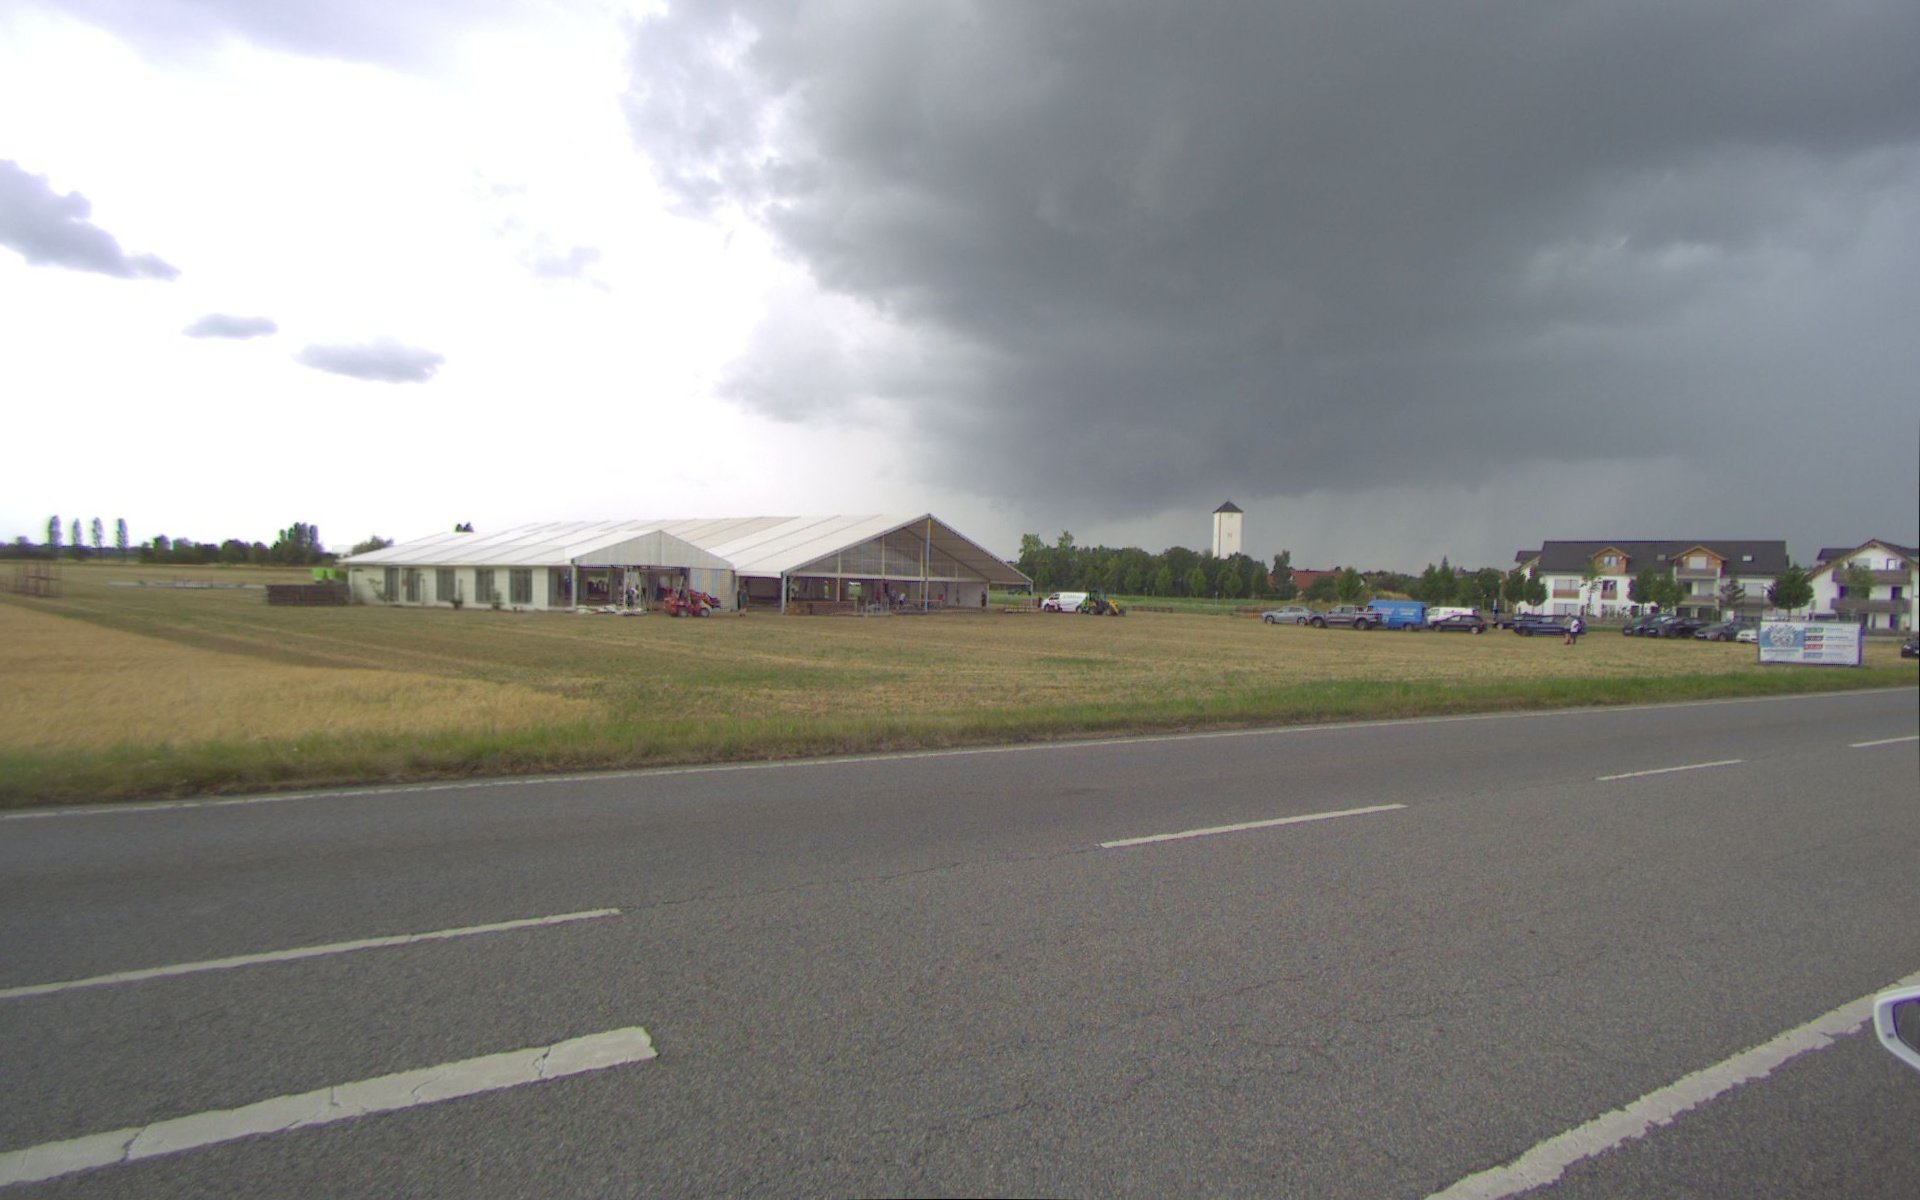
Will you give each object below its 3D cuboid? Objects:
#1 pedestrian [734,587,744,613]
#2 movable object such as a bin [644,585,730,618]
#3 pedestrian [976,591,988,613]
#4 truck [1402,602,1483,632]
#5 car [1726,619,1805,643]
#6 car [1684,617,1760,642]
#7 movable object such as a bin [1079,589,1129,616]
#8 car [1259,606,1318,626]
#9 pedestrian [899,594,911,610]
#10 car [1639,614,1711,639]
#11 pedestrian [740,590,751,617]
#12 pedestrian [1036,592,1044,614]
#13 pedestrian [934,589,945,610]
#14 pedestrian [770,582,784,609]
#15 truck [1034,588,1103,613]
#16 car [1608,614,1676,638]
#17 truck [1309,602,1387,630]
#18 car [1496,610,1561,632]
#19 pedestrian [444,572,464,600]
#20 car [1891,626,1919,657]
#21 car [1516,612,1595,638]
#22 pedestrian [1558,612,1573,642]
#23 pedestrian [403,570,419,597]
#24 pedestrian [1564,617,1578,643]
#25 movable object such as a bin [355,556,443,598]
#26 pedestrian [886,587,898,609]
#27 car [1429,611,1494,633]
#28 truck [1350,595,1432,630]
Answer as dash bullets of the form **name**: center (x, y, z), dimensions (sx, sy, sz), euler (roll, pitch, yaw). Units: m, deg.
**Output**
- **pedestrian**: center (-14.071, 0.022, 63.909), dimensions (0.573, 1.649, 0.470), euler (2, 0, -10)
- **movable object such as a bin**: center (-16.669, 0.091, 61.429), dimensions (2.555, 1.889, 4.457), euler (2, 0, 37)
- **pedestrian**: center (1.899, 0.180, 86.414), dimensions (0.684, 1.799, 0.687), euler (2, 1, 41)
- **truck**: center (39.316, 1.340, 81.897), dimensions (5.494, 2.226, 2.597), euler (2, 0, 38)
- **car**: center (54.387, 2.086, 67.846), dimensions (4.138, 1.465, 1.995), euler (1, 0, -12)
- **car**: center (53.429, 2.069, 70.464), dimensions (4.138, 1.556, 1.995), euler (1, 0, -12)
- **movable object such as a bin**: center (12.858, 0.208, 89.531), dimensions (3.928, 2.273, 1.881), euler (2, 1, 33)
- **car**: center (27.012, 1.268, 82.562), dimensions (4.236, 1.481, 1.886), euler (2, 0, 34)
- **pedestrian**: center (-4.507, 0.185, 82.232), dimensions (0.689, 1.288, 0.682), euler (1, 1, -41)
- **car**: center (52.237, 1.941, 73.430), dimensions (4.138, 1.651, 1.995), euler (1, 0, -12)
- **pedestrian**: center (-13.426, 0.240, 62.807), dimensions (0.541, 1.649, 0.546), euler (2, 0, 0)
- **pedestrian**: center (7.083, 0.238, 88.942), dimensions (0.694, 1.890, 0.626), euler (2, 1, 6)
- **pedestrian**: center (-1.770, -0.021, 85.877), dimensions (0.685, 1.799, 0.686), euler (1, 1, -25)
- **pedestrian**: center (-14.497, -0.362, 79.571), dimensions (0.868, 2.040, 0.761), euler (1, 1, -32)
- **truck**: center (10.296, 0.040, 95.603), dimensions (5.960, 2.246, 2.713), euler (2, 0, 33)
- **car**: center (52.466, 1.994, 77.253), dimensions (4.138, 1.651, 1.995), euler (1, 0, -12)
- **truck**: center (29.336, 1.198, 75.966), dimensions (5.155, 1.946, 2.106), euler (2, 0, 34)
- **car**: center (49.074, 1.819, 86.718), dimensions (4.571, 1.720, 1.991), euler (2, 0, 40)
- **pedestrian**: center (-37.687, -1.046, 74.842), dimensions (1.005, 2.040, 0.806), euler (2, 1, -1)
- **car**: center (49.199, 2.109, 51.308), dimensions (3.969, 1.461, 1.976), euler (0, 1, -41)
- **car**: center (43.491, 1.803, 73.409), dimensions (4.660, 1.720, 1.991), euler (2, 0, 40)
- **pedestrian**: center (36.513, 1.624, 60.556), dimensions (0.673, 1.809, 0.543), euler (1, 1, -42)
- **pedestrian**: center (-43.039, -1.299, 78.767), dimensions (1.010, 2.040, 0.803), euler (2, 1, 40)
- **pedestrian**: center (37.144, 1.832, 61.044), dimensions (0.582, 1.576, 0.623), euler (2, 1, 41)
- **movable object such as a bin**: center (-47.966, -1.995, 85.759), dimensions (7.466, 3.220, 4.139), euler (3, 1, 40)
- **pedestrian**: center (-5.675, -0.138, 83.959), dimensions (0.689, 1.799, 0.682), euler (1, 1, -41)
- **car**: center (38.619, 1.687, 77.405), dimensions (4.106, 1.539, 1.991), euler (2, 0, 40)
- **truck**: center (33.217, 0.974, 77.469), dimensions (5.379, 2.478, 2.385), euler (2, 1, 38)
